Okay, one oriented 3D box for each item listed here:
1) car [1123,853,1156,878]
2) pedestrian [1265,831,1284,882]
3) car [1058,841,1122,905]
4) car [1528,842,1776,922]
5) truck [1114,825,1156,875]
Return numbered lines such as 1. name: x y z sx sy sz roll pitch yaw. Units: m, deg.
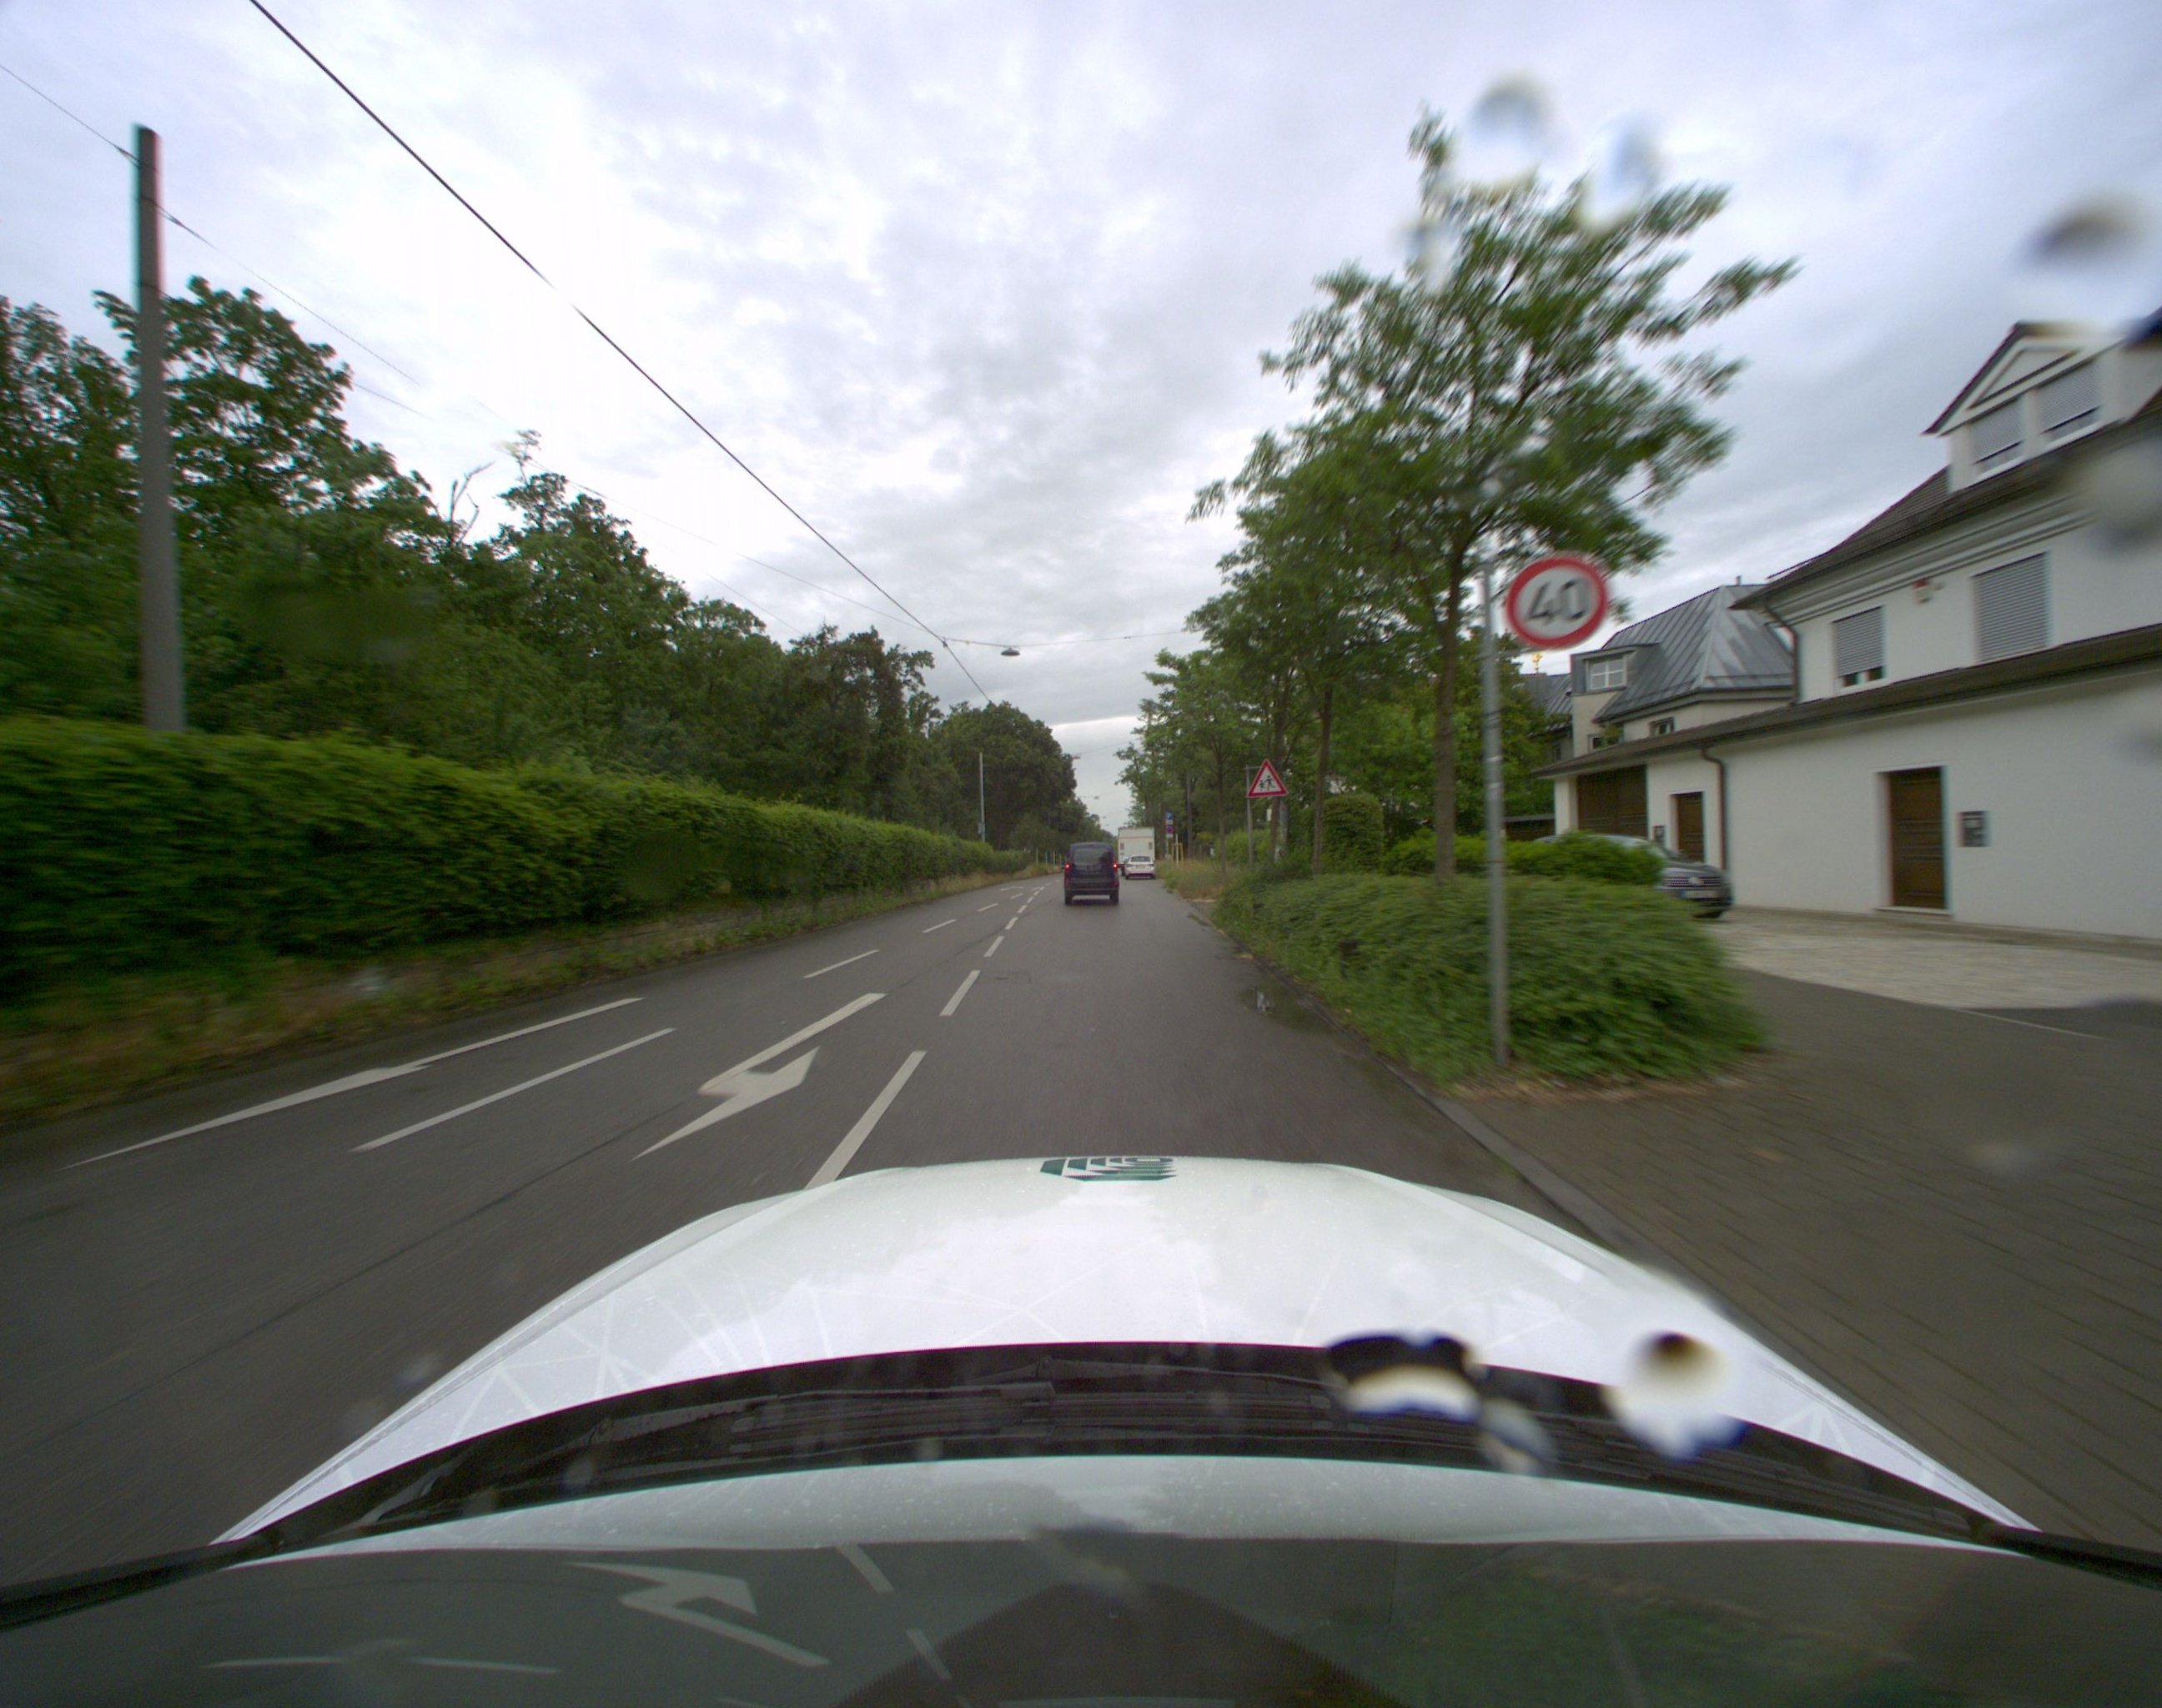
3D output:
1. car: 3.471 0.682 49.179 1.806 1.380 4.287 -2 0 2
2. pedestrian: 6.528 0.084 27.438 0.558 1.708 0.518 -2 0 11
3. car: 0.247 0.554 25.431 1.803 1.797 3.998 -2 0 -1
4. car: 9.506 0.419 14.008 1.822 1.176 4.008 -1 0 7
5. truck: 3.916 -0.296 60.026 2.721 3.387 6.687 -2 0 2
